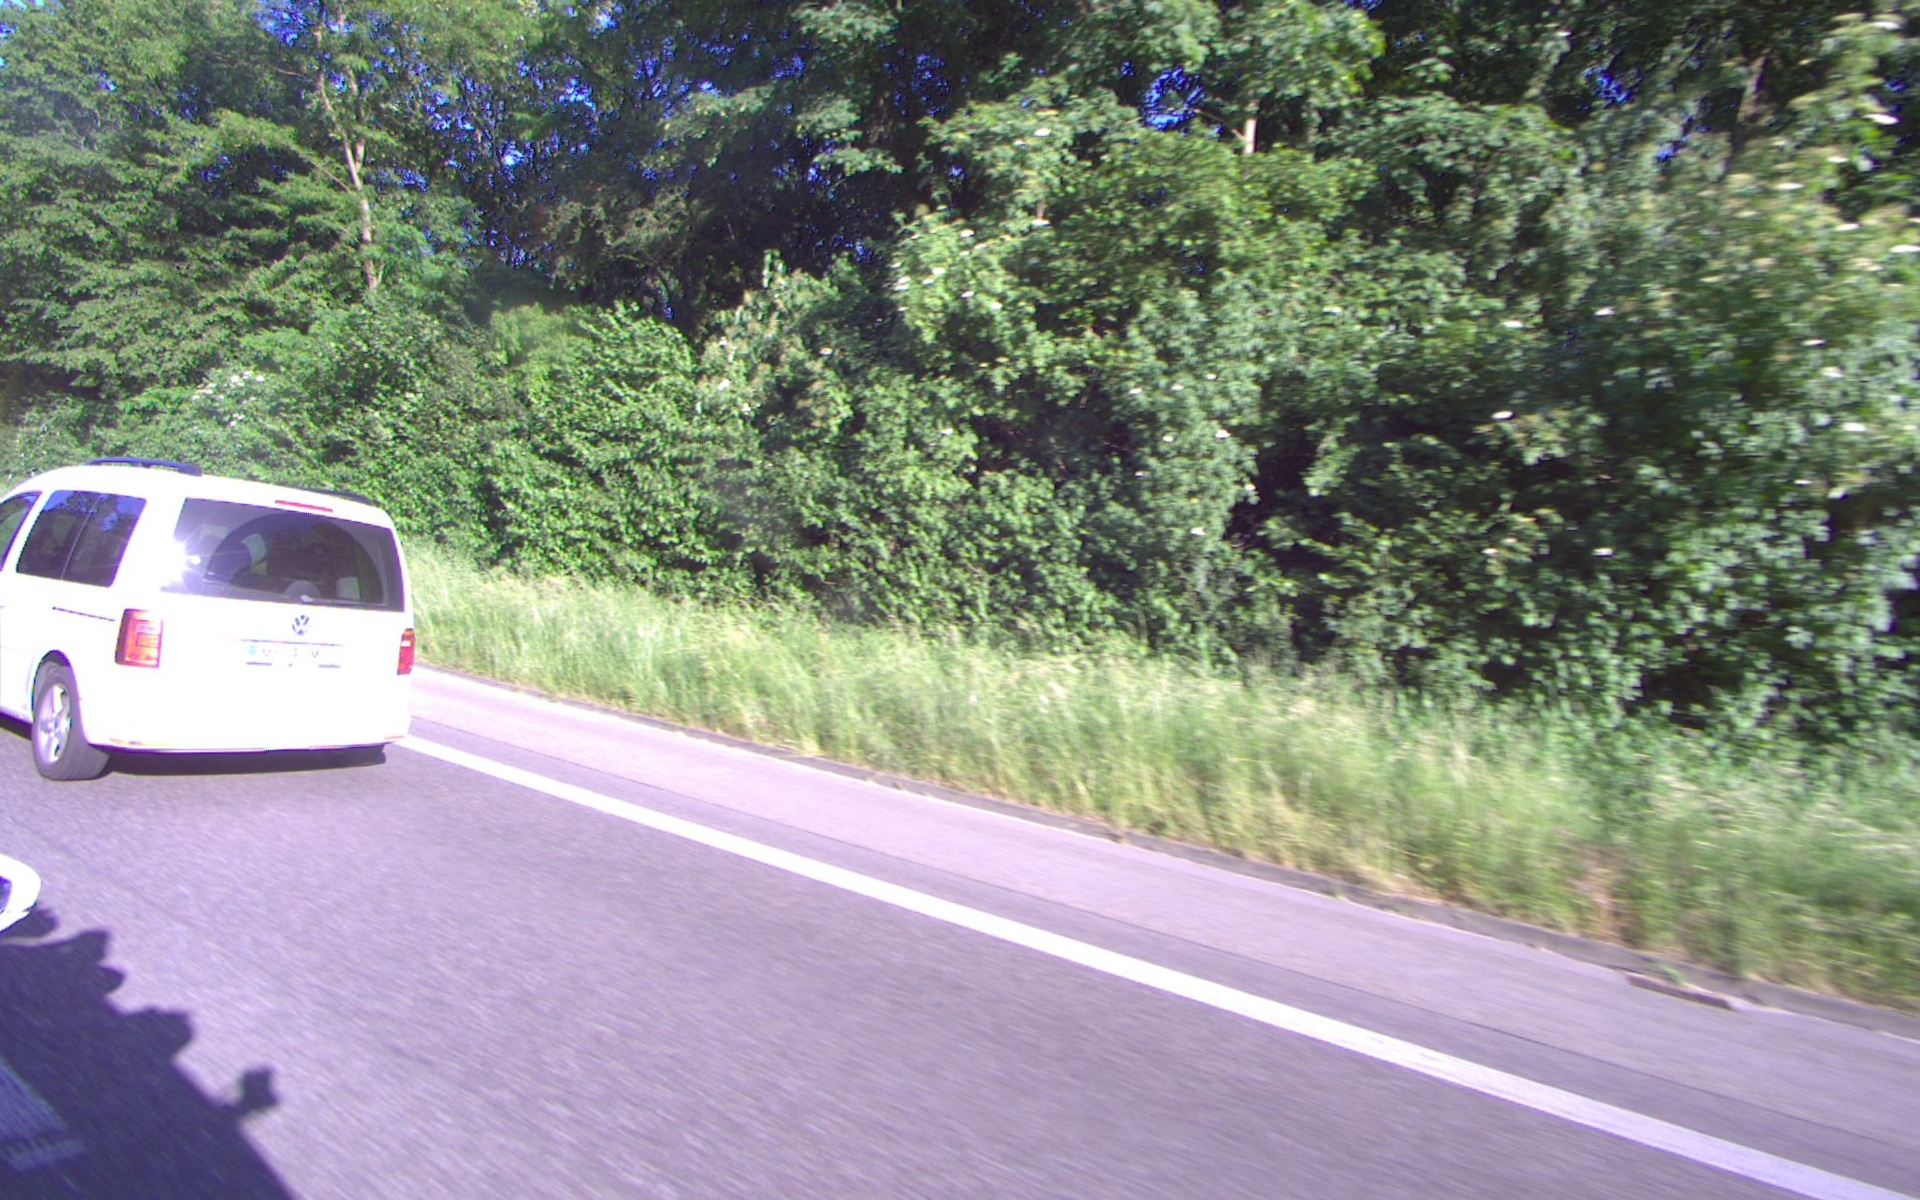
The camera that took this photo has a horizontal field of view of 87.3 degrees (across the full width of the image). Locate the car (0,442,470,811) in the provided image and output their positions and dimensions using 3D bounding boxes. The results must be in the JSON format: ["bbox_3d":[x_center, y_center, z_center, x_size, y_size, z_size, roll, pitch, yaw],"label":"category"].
[{"bbox_3d":[-5.686,0.022,6.979,4.511,1.834,1.802,6,-2,31],"label":"car"}]
